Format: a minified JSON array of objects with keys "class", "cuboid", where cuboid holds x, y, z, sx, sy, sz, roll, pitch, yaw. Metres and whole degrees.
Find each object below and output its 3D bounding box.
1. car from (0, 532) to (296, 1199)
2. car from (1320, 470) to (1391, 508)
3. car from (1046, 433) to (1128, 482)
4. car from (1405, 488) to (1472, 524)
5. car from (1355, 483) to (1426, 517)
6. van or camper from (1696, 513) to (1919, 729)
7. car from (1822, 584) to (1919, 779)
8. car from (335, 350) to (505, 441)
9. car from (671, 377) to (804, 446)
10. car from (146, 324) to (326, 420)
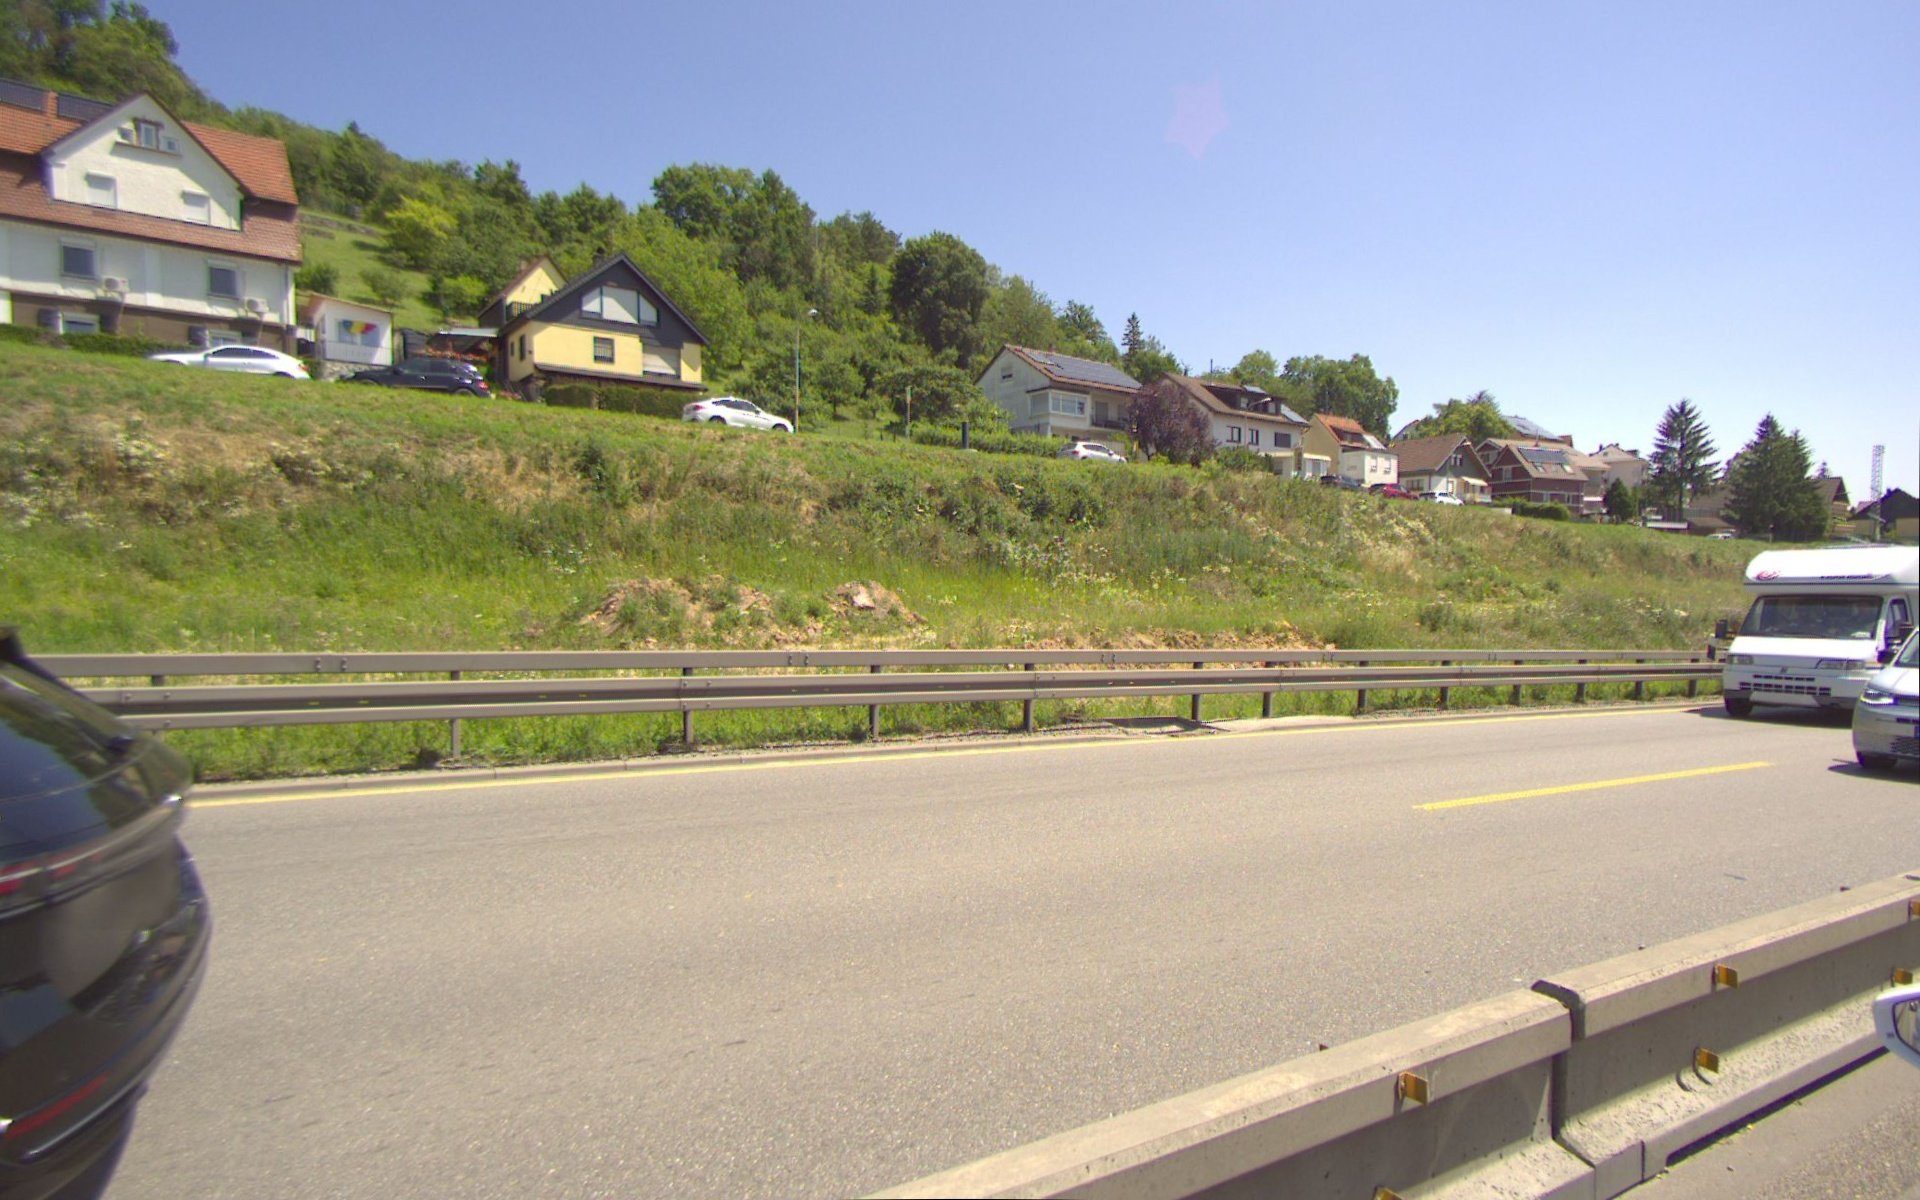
[{"class":"car","cuboid":[-3.834,0.580,1.344,4.779,1.495,1.833,2,-1,-31]},{"class":"car","cuboid":[26.115,-7.285,66.259,4.721,1.817,2.162,3,-1,-37]},{"class":"car","cuboid":[6.612,-7.374,52.276,3.964,1.817,1.979,3,-1,-37]},{"class":"car","cuboid":[35.537,-6.921,74.554,4.768,2.068,2.333,3,-1,-34]},{"class":"car","cuboid":[30.430,-7.025,70.970,4.752,1.817,2.333,3,-1,-34]},{"class":"van or camper","cuboid":[15.524,0.377,17.151,6.844,3.107,2.280,2,0,-31]},{"class":"car","cuboid":[11.339,0.837,10.703,4.983,1.852,1.828,2,0,-32]},{"class":"car","cuboid":[-18.600,-6.955,34.685,4.925,2.035,2.056,3,-1,-36]},{"class":"car","cuboid":[-9.170,-7.723,41.649,4.967,1.817,1.979,3,-1,-37]},{"class":"car","cuboid":[-22.547,-7.038,31.455,4.389,1.896,1.979,3,-1,-36]}]
